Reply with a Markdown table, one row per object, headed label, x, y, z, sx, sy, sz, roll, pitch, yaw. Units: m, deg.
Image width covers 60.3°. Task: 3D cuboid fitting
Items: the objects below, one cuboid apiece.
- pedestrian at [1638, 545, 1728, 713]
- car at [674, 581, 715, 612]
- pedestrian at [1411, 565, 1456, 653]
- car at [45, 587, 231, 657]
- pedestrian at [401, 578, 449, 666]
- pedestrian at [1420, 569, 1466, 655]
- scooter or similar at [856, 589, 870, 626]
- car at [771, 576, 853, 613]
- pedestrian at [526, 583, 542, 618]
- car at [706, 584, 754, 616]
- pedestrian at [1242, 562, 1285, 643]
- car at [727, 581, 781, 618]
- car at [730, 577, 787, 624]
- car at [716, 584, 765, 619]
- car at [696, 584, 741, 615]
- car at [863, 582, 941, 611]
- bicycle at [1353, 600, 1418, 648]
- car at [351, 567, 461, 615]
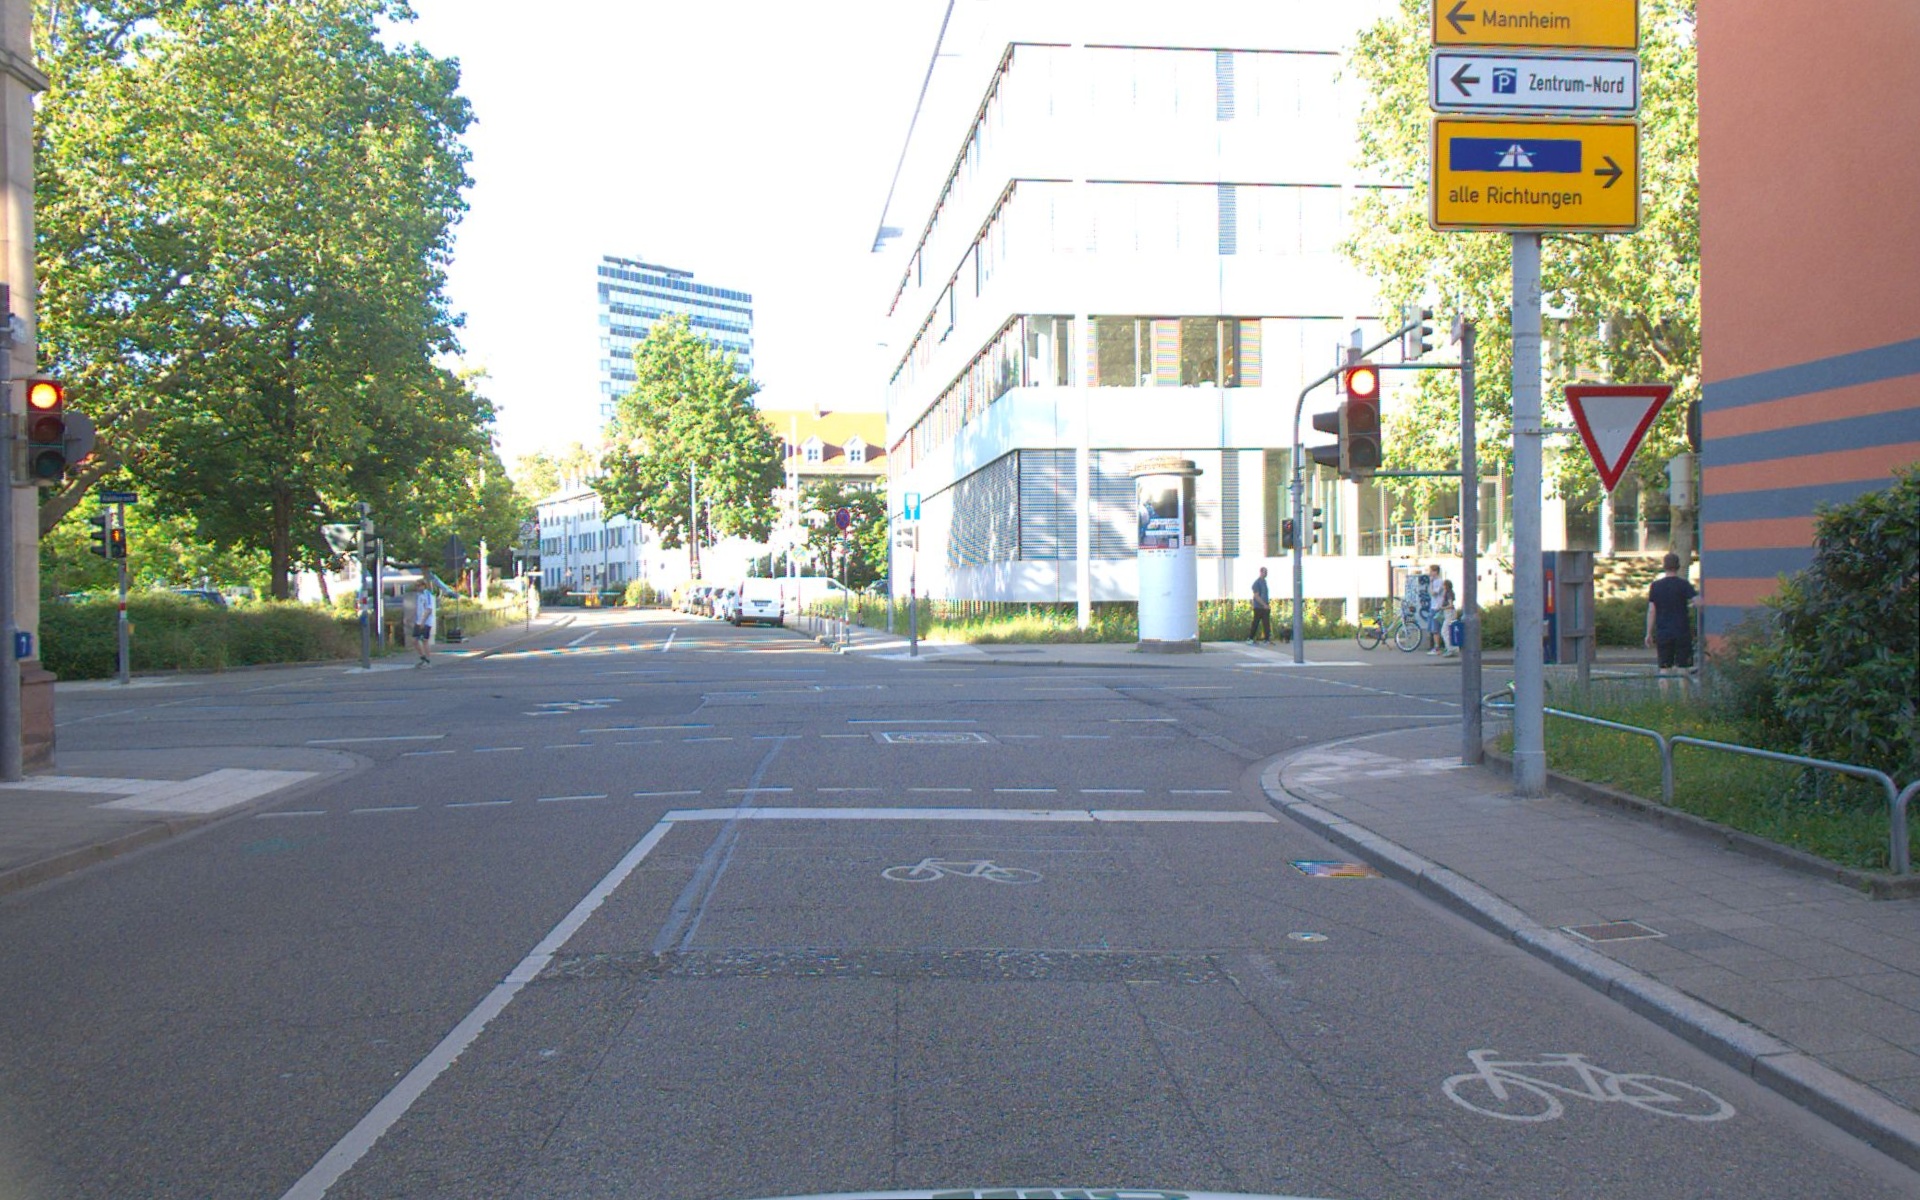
| label | x | y | z | sx | sy | sz | roll | pitch | yaw |
| --- | --- | --- | --- | --- | --- | --- | --- | --- | --- |
| pedestrian | 8.183 | 0.322 | 18.731 | 0.713 | 1.842 | 0.691 | 1 | -1 | -42 |
| car | -15.381 | -0.200 | 95.617 | 1.960 | 1.755 | 4.635 | 1 | 0 | -14 |
| pedestrian | 9.959 | 0.186 | 34.824 | 0.749 | 1.826 | 0.648 | 1 | -1 | 2 |
| car | -18.365 | 0.483 | 37.077 | 3.347 | 1.483 | 1.646 | 1 | 0 | -11 |
| pedestrian | -11.814 | 0.480 | 36.504 | 0.902 | 1.901 | 0.737 | 1 | -1 | -24 |
| pedestrian | 9.960 | 0.241 | 34.103 | 0.749 | 1.749 | 0.648 | 1 | -1 | 2 |
| scooter or similar | -3.426 | 0.273 | 58.248 | 0.429 | 1.278 | 1.418 | -1 | 0 | -5 |
| car | -9.198 | -0.335 | 102.810 | 4.718 | 2.196 | 1.990 | 1 | 0 | -18 |
| pedestrian | -19.919 | 0.013 | 77.371 | 0.688 | 1.614 | 0.634 | 1 | -1 | -16 |
| car | -11.306 | 0.001 | 81.096 | 1.959 | 1.525 | 4.272 | 1 | 0 | -13 |
| pedestrian | 7.075 | 0.059 | 38.532 | 0.895 | 1.847 | 0.762 | 1 | -1 | 17 |
| car | -8.867 | -0.011 | 70.914 | 1.958 | 1.525 | 4.639 | 1 | 0 | -11 |
| car | -7.914 | 0.022 | 64.715 | 1.957 | 1.755 | 4.641 | 1 | 0 | -10 |
| car | -10.192 | 0.068 | 76.665 | 1.958 | 1.525 | 4.639 | 1 | 0 | -11 |
| car | -12.549 | -0.041 | 85.802 | 1.959 | 1.525 | 4.637 | 1 | 0 | -13 |
| car | -3.673 | -0.218 | 104.736 | 4.563 | 1.755 | 1.991 | 1 | 0 | -17 |
| bicycle | 9.325 | 0.511 | 36.295 | 0.376 | 1.026 | 1.410 | -1 | 0 | -42 |
| car | -24.947 | -0.383 | 74.617 | 4.363 | 2.049 | 1.995 | 1 | 0 | -10 |
